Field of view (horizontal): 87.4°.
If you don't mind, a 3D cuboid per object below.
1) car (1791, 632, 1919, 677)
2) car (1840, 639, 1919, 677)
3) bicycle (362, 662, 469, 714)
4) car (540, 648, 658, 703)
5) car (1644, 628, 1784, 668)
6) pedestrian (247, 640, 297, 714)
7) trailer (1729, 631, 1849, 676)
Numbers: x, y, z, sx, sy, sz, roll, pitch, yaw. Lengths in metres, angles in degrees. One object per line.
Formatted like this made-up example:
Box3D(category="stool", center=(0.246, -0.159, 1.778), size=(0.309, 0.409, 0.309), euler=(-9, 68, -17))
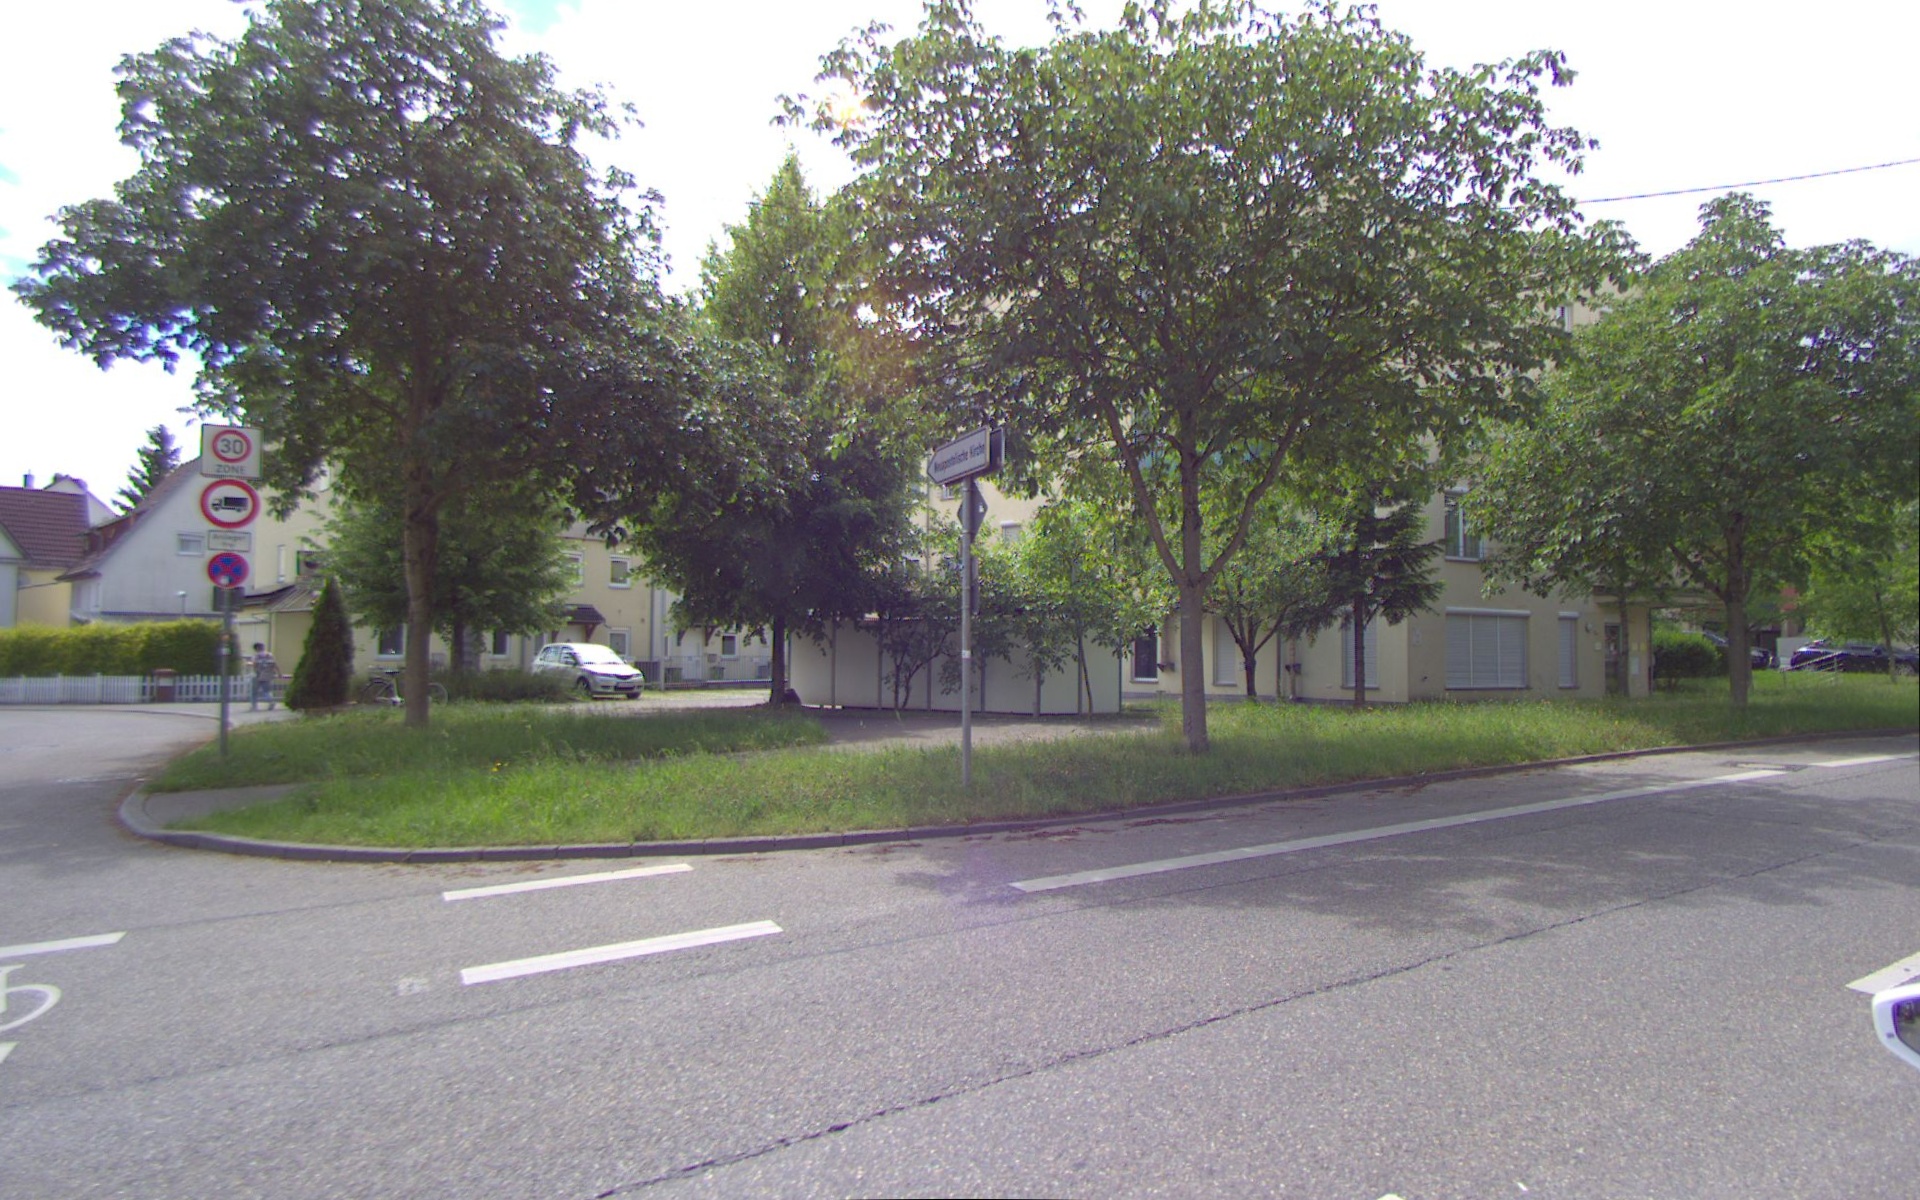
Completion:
Box3D(category="car", center=(32.785, 1.956, 36.180), size=(1.774, 1.417, 4.059), euler=(5, -4, -29))
Box3D(category="car", center=(39.634, 2.441, 41.903), size=(1.774, 1.417, 4.059), euler=(5, -4, -29))
Box3D(category="bicycle", center=(-10.351, 1.661, 19.090), size=(2.182, 0.871, 0.464), euler=(0, -2, 21))
Box3D(category="car", center=(-10.046, 2.096, 27.879), size=(1.822, 1.415, 3.366), euler=(3, -5, -45))
Box3D(category="car", center=(30.534, 1.959, 40.809), size=(1.879, 1.543, 4.157), euler=(1, -3, -30))
Box3D(category="pedestrian", center=(-15.878, 1.759, 23.202), size=(0.804, 1.616, 0.730), euler=(-4, 1, -31))
Box3D(category="trailer", center=(37.676, 2.401, 45.726), size=(1.613, 1.821, 3.886), euler=(5, -4, -31))
